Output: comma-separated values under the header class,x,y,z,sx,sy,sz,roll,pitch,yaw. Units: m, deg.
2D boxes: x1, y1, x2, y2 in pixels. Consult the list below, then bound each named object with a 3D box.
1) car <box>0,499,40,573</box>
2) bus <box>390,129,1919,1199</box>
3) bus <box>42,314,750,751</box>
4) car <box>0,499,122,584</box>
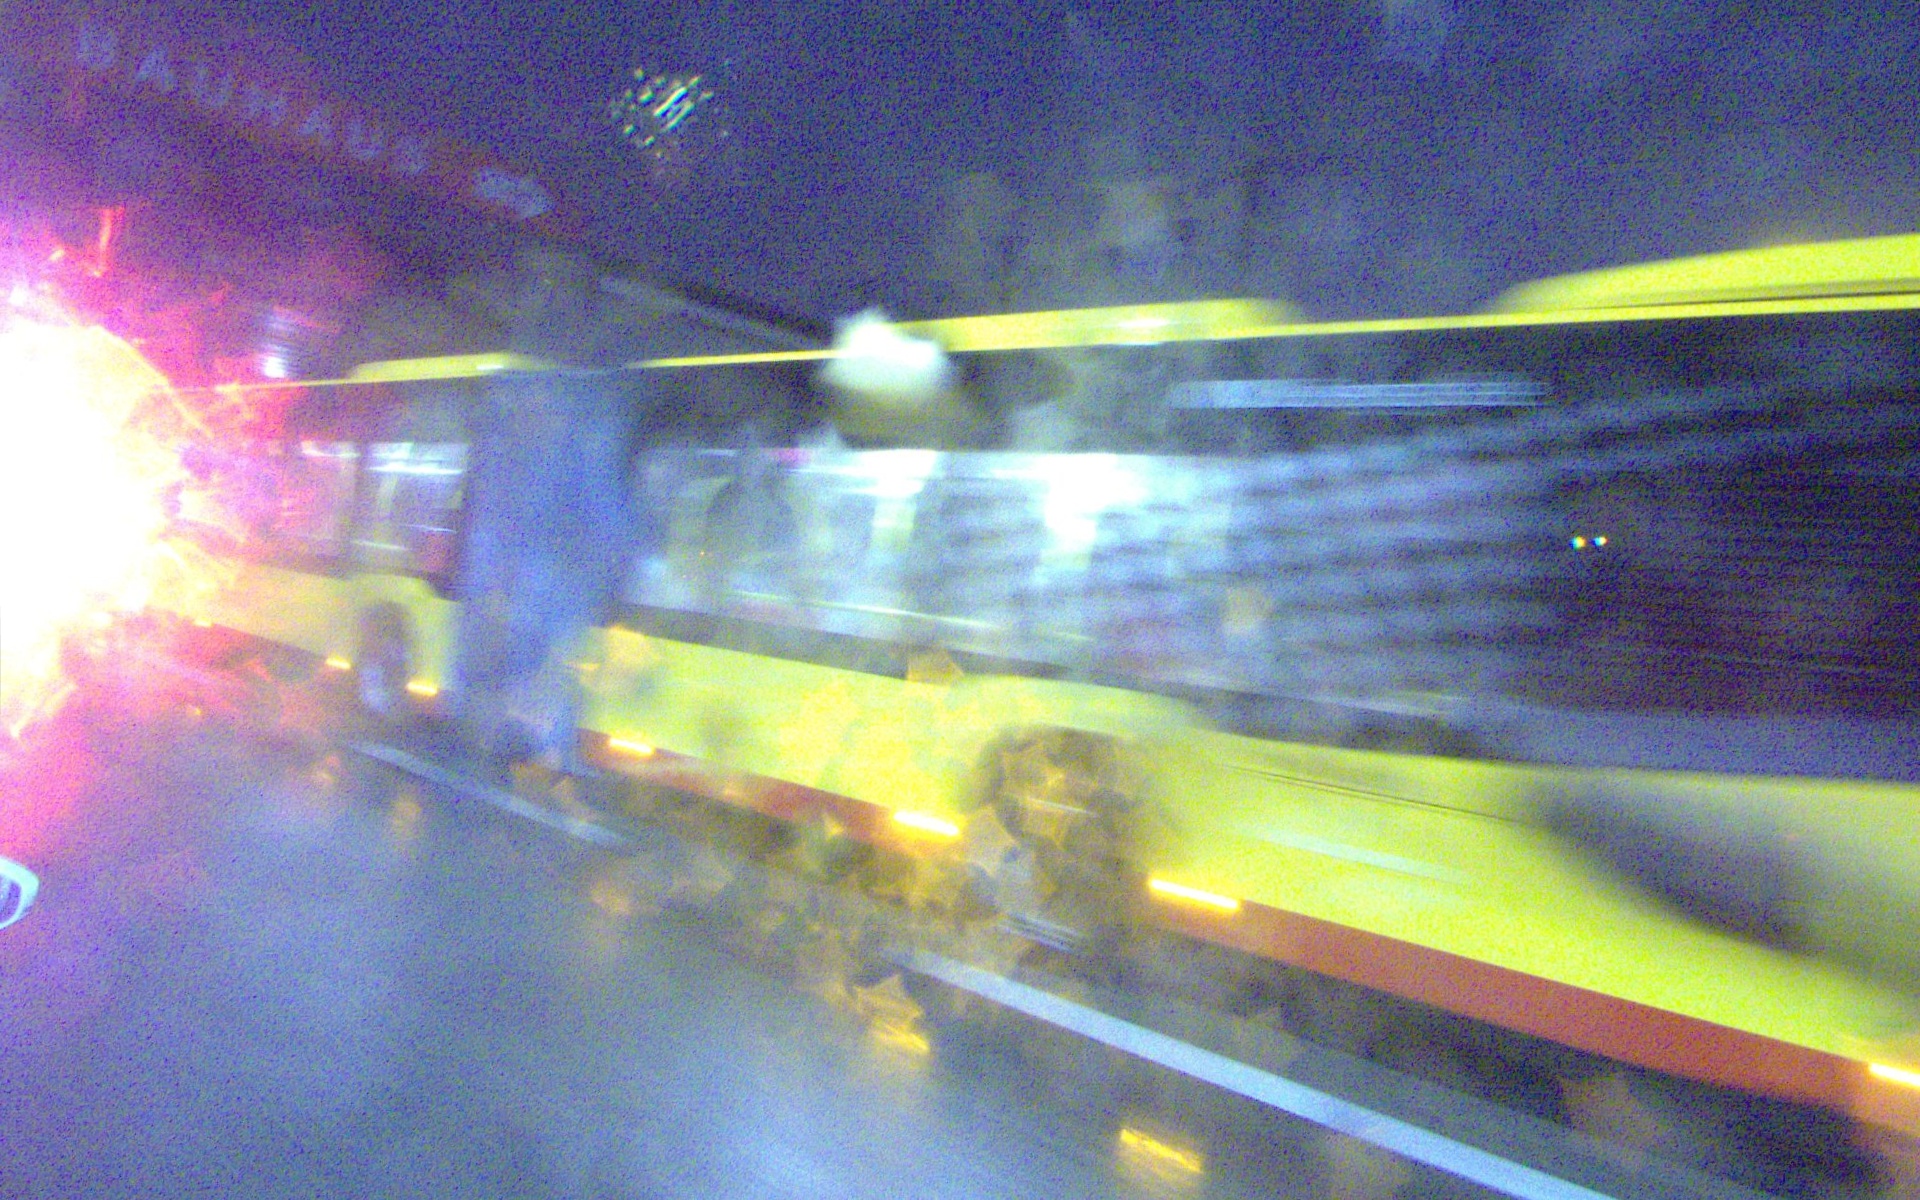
class,x,y,z,sx,sy,sz,roll,pitch,yaw
car,-24.605,-1.740,25.482,1.782,1.704,3.951,7,0,-43
bus,0.571,0.037,6.129,8.903,3.251,3.047,6,-1,33
bus,-6.750,-0.774,11.235,8.906,3.251,3.046,6,-1,35
car,-19.808,-1.318,22.148,1.770,1.520,3.951,7,0,-43
